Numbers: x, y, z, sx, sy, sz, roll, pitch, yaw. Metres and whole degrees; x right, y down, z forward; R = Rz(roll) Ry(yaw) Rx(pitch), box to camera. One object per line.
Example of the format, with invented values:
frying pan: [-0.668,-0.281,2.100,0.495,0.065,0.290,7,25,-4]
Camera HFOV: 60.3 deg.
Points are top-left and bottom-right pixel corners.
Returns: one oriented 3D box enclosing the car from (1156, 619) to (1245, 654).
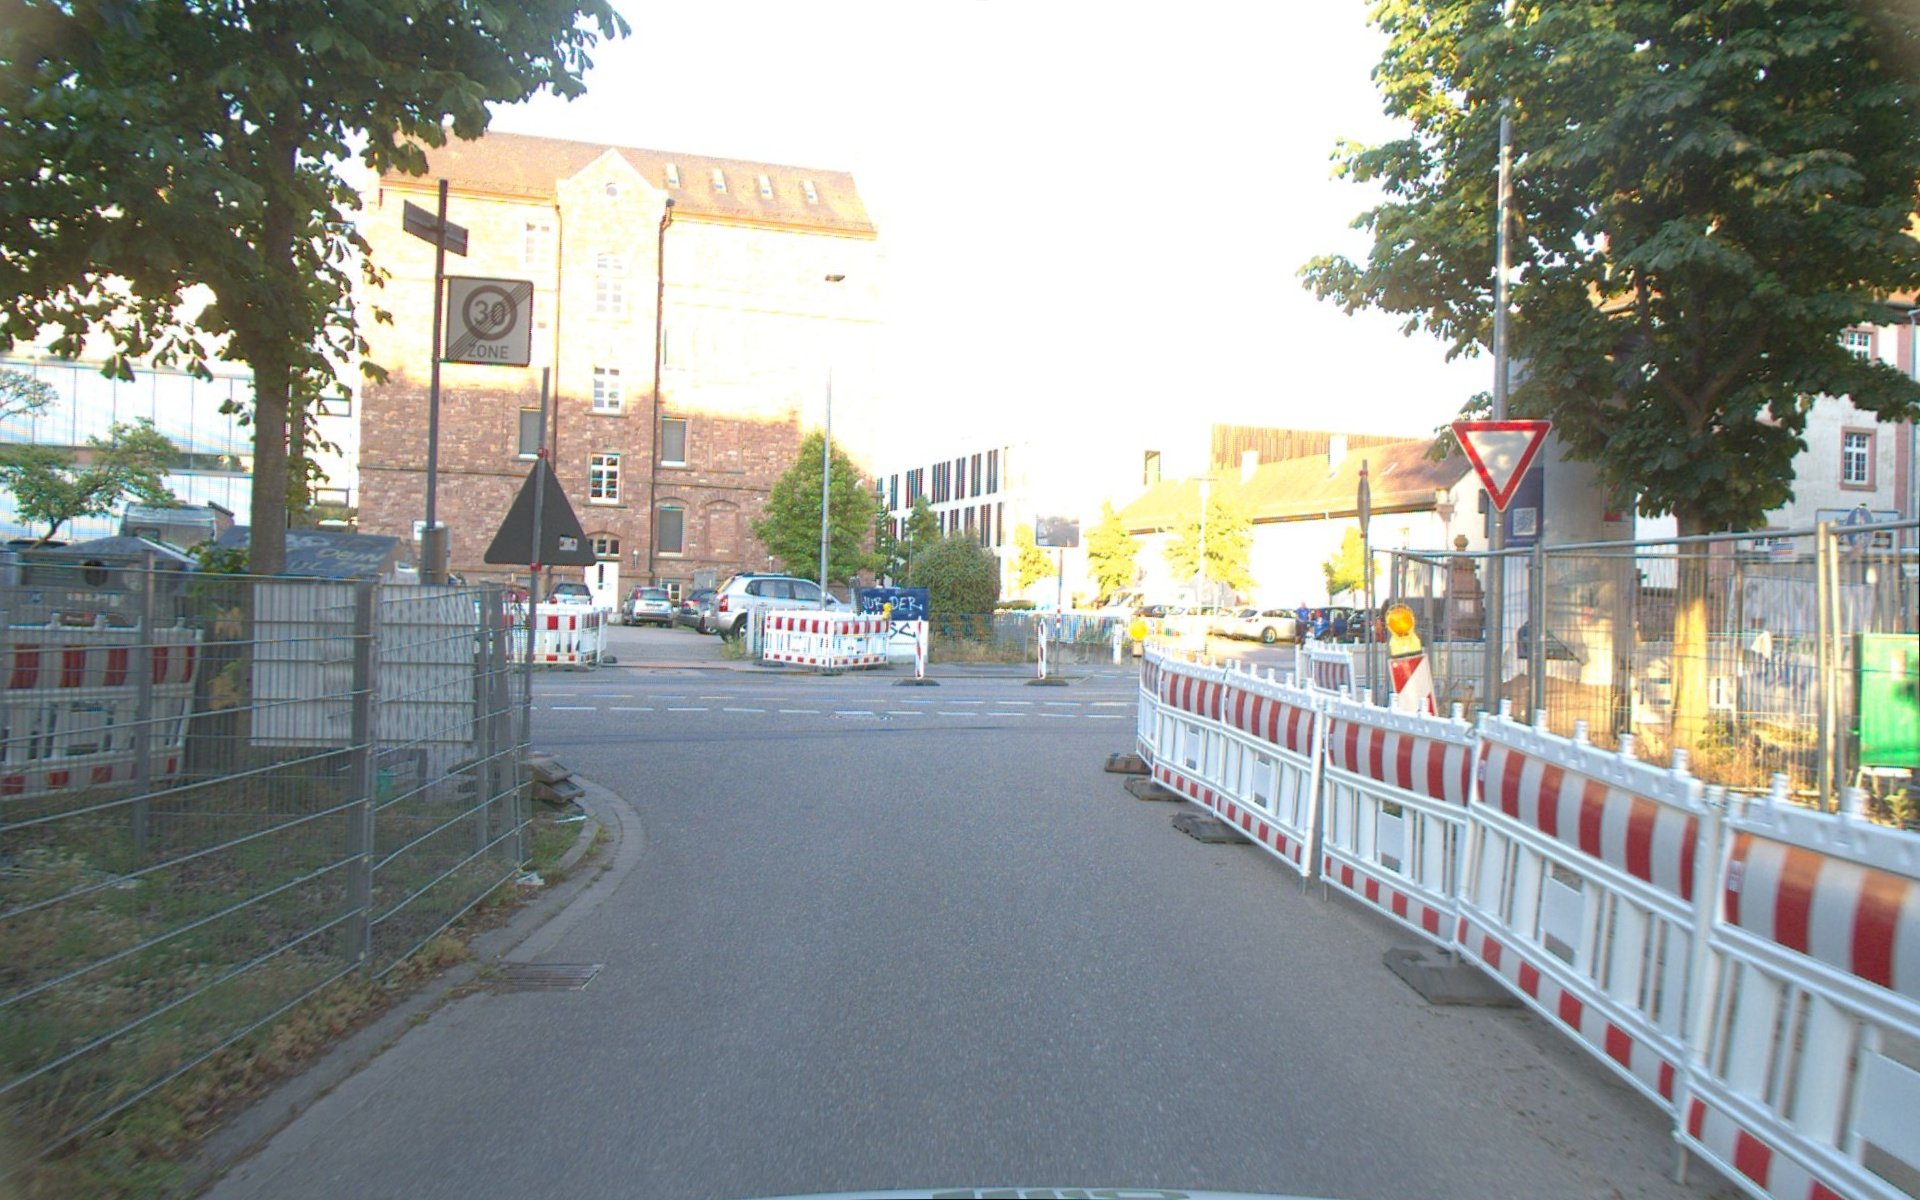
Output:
car: [11.024,1.666,75.906,3.688,1.471,1.676,2,-1,-22]

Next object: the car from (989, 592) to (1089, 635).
car: [3.225,0.565,67.518,3.688,1.631,1.676,2,-1,-22]

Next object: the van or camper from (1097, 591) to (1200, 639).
van or camper: [9.468,0.757,83.061,4.893,2.280,1.676,2,-1,-22]

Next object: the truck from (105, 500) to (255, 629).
truck: [-17.506,-0.763,37.380,2.297,2.662,4.949,2,0,-17]

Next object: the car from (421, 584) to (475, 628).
car: [-19.351,0.205,62.487,1.867,1.564,4.158,2,0,-18]

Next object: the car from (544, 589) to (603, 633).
car: [-14.885,0.390,63.527,1.867,1.564,4.158,2,0,-18]

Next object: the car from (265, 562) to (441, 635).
car: [-13.585,-0.020,37.227,3.573,1.530,1.629,1,0,-17]

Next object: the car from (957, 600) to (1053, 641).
car: [1.915,0.849,70.256,3.688,1.631,1.676,2,-1,-22]

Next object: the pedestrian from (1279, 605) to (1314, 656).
pedestrian: [11.367,1.029,55.914,0.738,1.671,1.010,2,-1,-17]

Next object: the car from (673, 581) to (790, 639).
car: [-7.320,0.322,52.961,3.423,1.738,1.659,1,0,-20]

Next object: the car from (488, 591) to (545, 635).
car: [-16.890,0.475,62.867,1.867,1.564,4.158,2,0,-18]

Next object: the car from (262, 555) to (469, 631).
car: [-14.099,-0.149,39.490,4.510,1.666,1.568,1,0,-17]

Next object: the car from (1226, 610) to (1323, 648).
car: [13.251,1.227,69.611,3.688,1.471,1.676,2,-1,-22]

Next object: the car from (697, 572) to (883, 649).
car: [-4.136,0.258,40.146,4.205,1.738,1.693,1,0,-20]

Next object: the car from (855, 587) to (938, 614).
car: [-3.315,0.033,86.321,3.927,1.336,1.867,2,0,-20]

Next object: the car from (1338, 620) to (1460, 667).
car: [16.150,1.594,60.896,3.931,1.600,1.987,2,-1,-22]

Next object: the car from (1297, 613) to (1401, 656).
car: [15.301,1.363,65.071,3.688,1.556,1.676,2,-1,-22]

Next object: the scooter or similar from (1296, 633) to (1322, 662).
scooter or similar: [11.591,1.573,54.943,0.506,0.906,0.802,2,-1,-18]

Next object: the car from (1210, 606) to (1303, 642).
car: [12.953,1.054,72.249,3.688,1.471,1.676,2,-1,-22]

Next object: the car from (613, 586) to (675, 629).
car: [-12.327,0.277,64.420,1.867,1.564,4.158,2,0,-18]
